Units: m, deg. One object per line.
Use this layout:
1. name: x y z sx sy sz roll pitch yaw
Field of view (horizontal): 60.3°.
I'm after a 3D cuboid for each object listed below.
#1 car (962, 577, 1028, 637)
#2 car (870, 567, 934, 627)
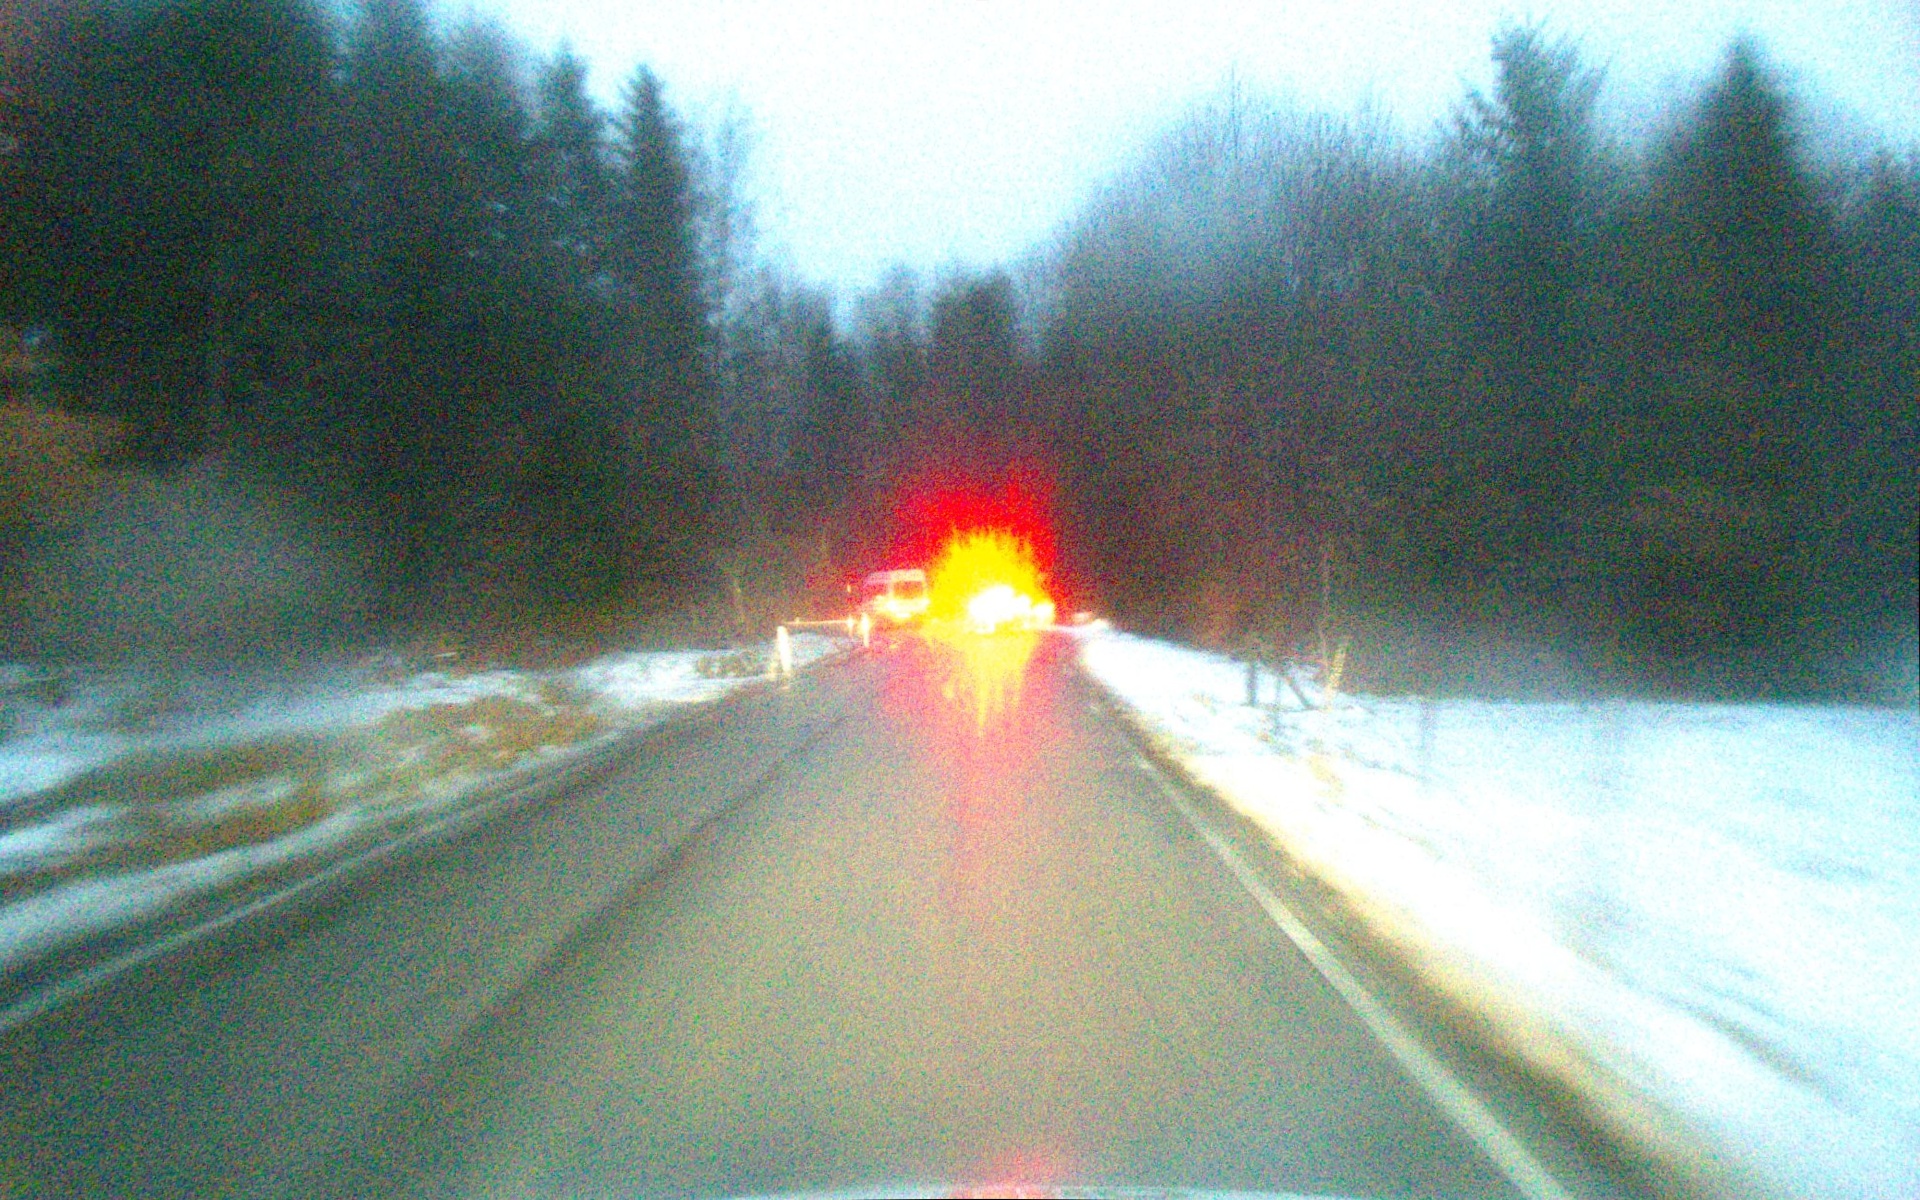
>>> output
1. car: 1.245 0.241 60.543 1.955 2.087 3.996 2 0 -5
2. car: -2.808 -0.147 79.143 2.213 2.691 4.991 -1 0 -12
